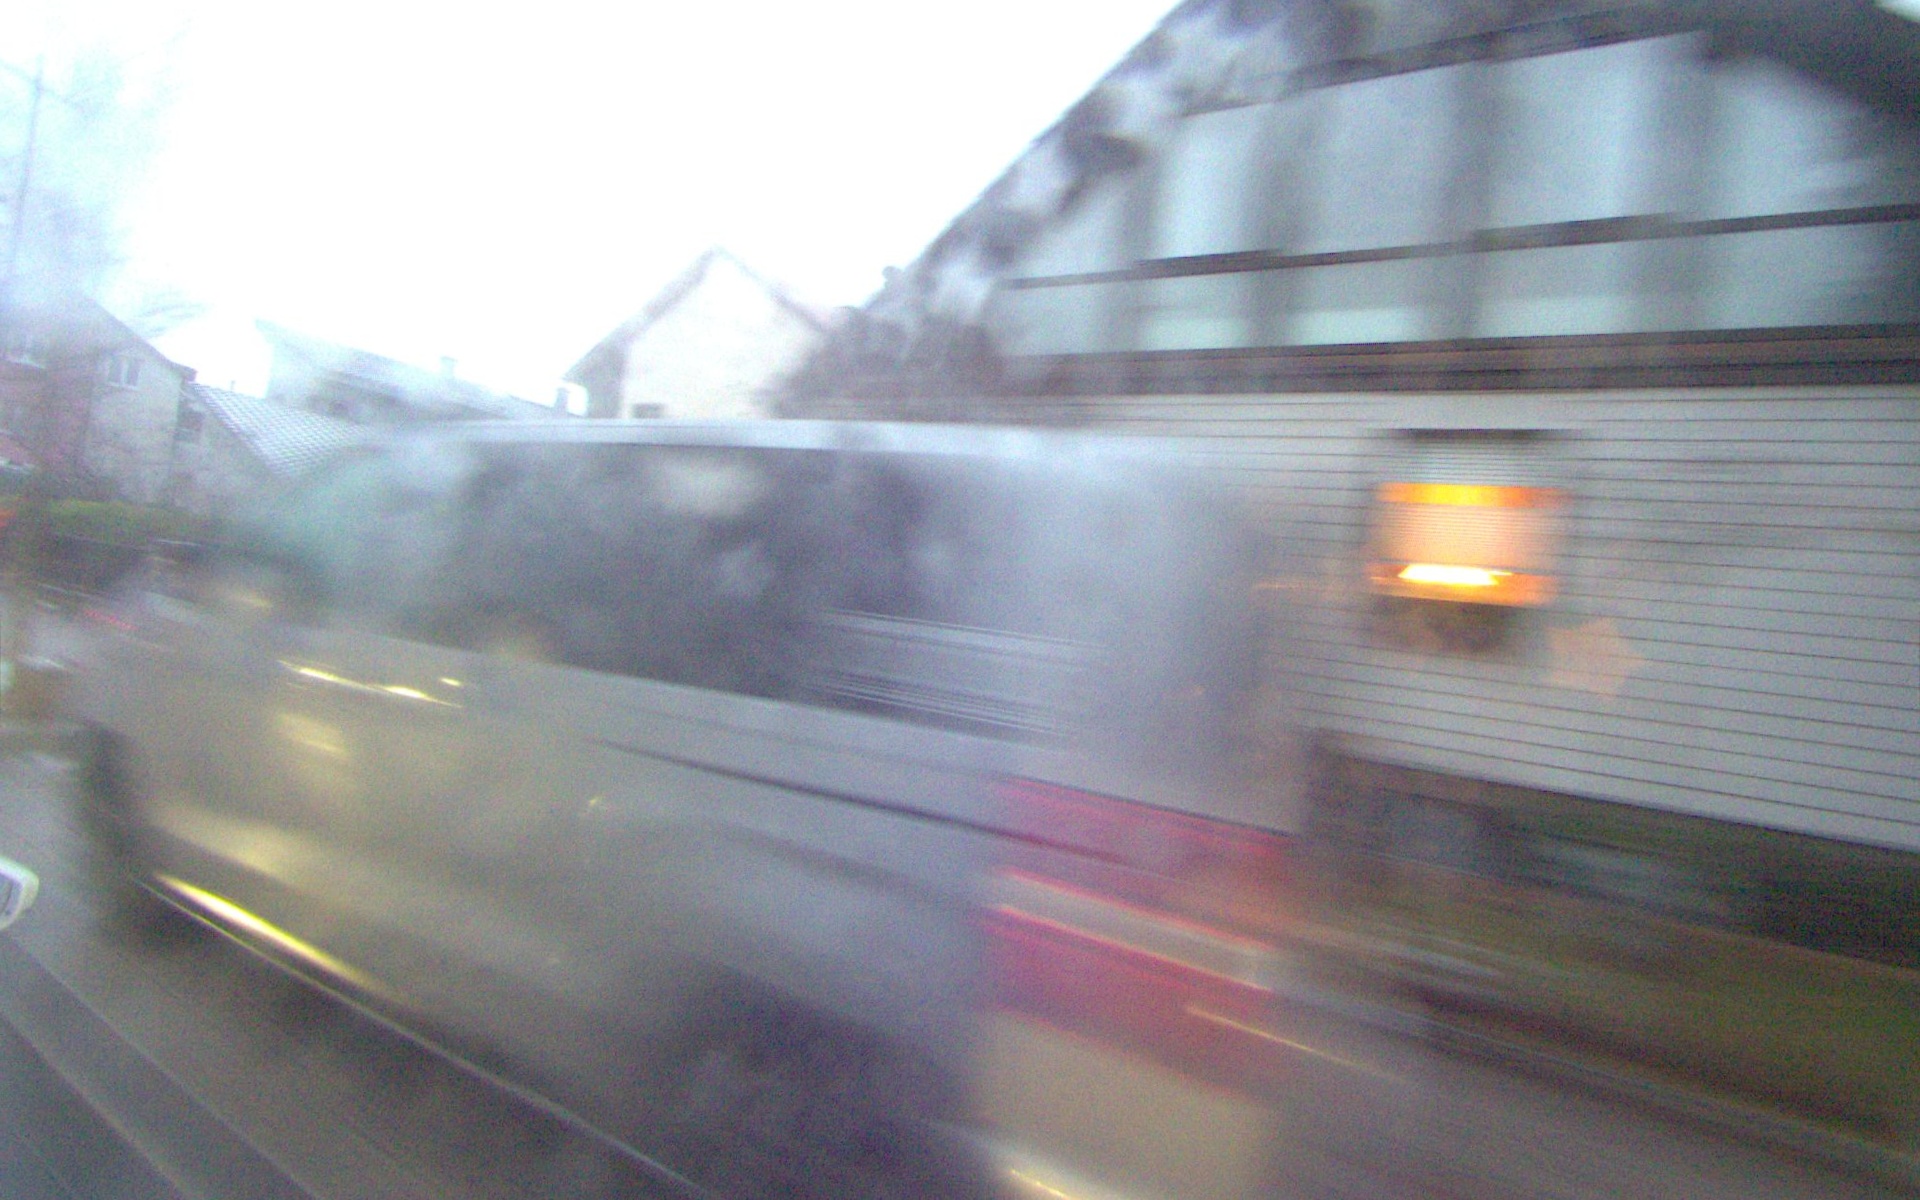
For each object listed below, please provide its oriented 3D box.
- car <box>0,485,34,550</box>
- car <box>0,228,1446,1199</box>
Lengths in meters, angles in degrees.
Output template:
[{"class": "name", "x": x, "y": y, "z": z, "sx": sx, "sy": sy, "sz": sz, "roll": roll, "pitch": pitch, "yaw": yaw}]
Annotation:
[{"class": "car", "x": -26.787, "y": -2.399, "z": 27.480, "sx": 1.965, "sy": 1.601, "sz": 4.281, "roll": 10, "pitch": -2, "yaw": -44}, {"class": "car", "x": -1.528, "y": 0.276, "z": 3.699, "sx": 5.648, "sy": 2.038, "sz": 1.980, "roll": 7, "pitch": 0, "yaw": 31}]
